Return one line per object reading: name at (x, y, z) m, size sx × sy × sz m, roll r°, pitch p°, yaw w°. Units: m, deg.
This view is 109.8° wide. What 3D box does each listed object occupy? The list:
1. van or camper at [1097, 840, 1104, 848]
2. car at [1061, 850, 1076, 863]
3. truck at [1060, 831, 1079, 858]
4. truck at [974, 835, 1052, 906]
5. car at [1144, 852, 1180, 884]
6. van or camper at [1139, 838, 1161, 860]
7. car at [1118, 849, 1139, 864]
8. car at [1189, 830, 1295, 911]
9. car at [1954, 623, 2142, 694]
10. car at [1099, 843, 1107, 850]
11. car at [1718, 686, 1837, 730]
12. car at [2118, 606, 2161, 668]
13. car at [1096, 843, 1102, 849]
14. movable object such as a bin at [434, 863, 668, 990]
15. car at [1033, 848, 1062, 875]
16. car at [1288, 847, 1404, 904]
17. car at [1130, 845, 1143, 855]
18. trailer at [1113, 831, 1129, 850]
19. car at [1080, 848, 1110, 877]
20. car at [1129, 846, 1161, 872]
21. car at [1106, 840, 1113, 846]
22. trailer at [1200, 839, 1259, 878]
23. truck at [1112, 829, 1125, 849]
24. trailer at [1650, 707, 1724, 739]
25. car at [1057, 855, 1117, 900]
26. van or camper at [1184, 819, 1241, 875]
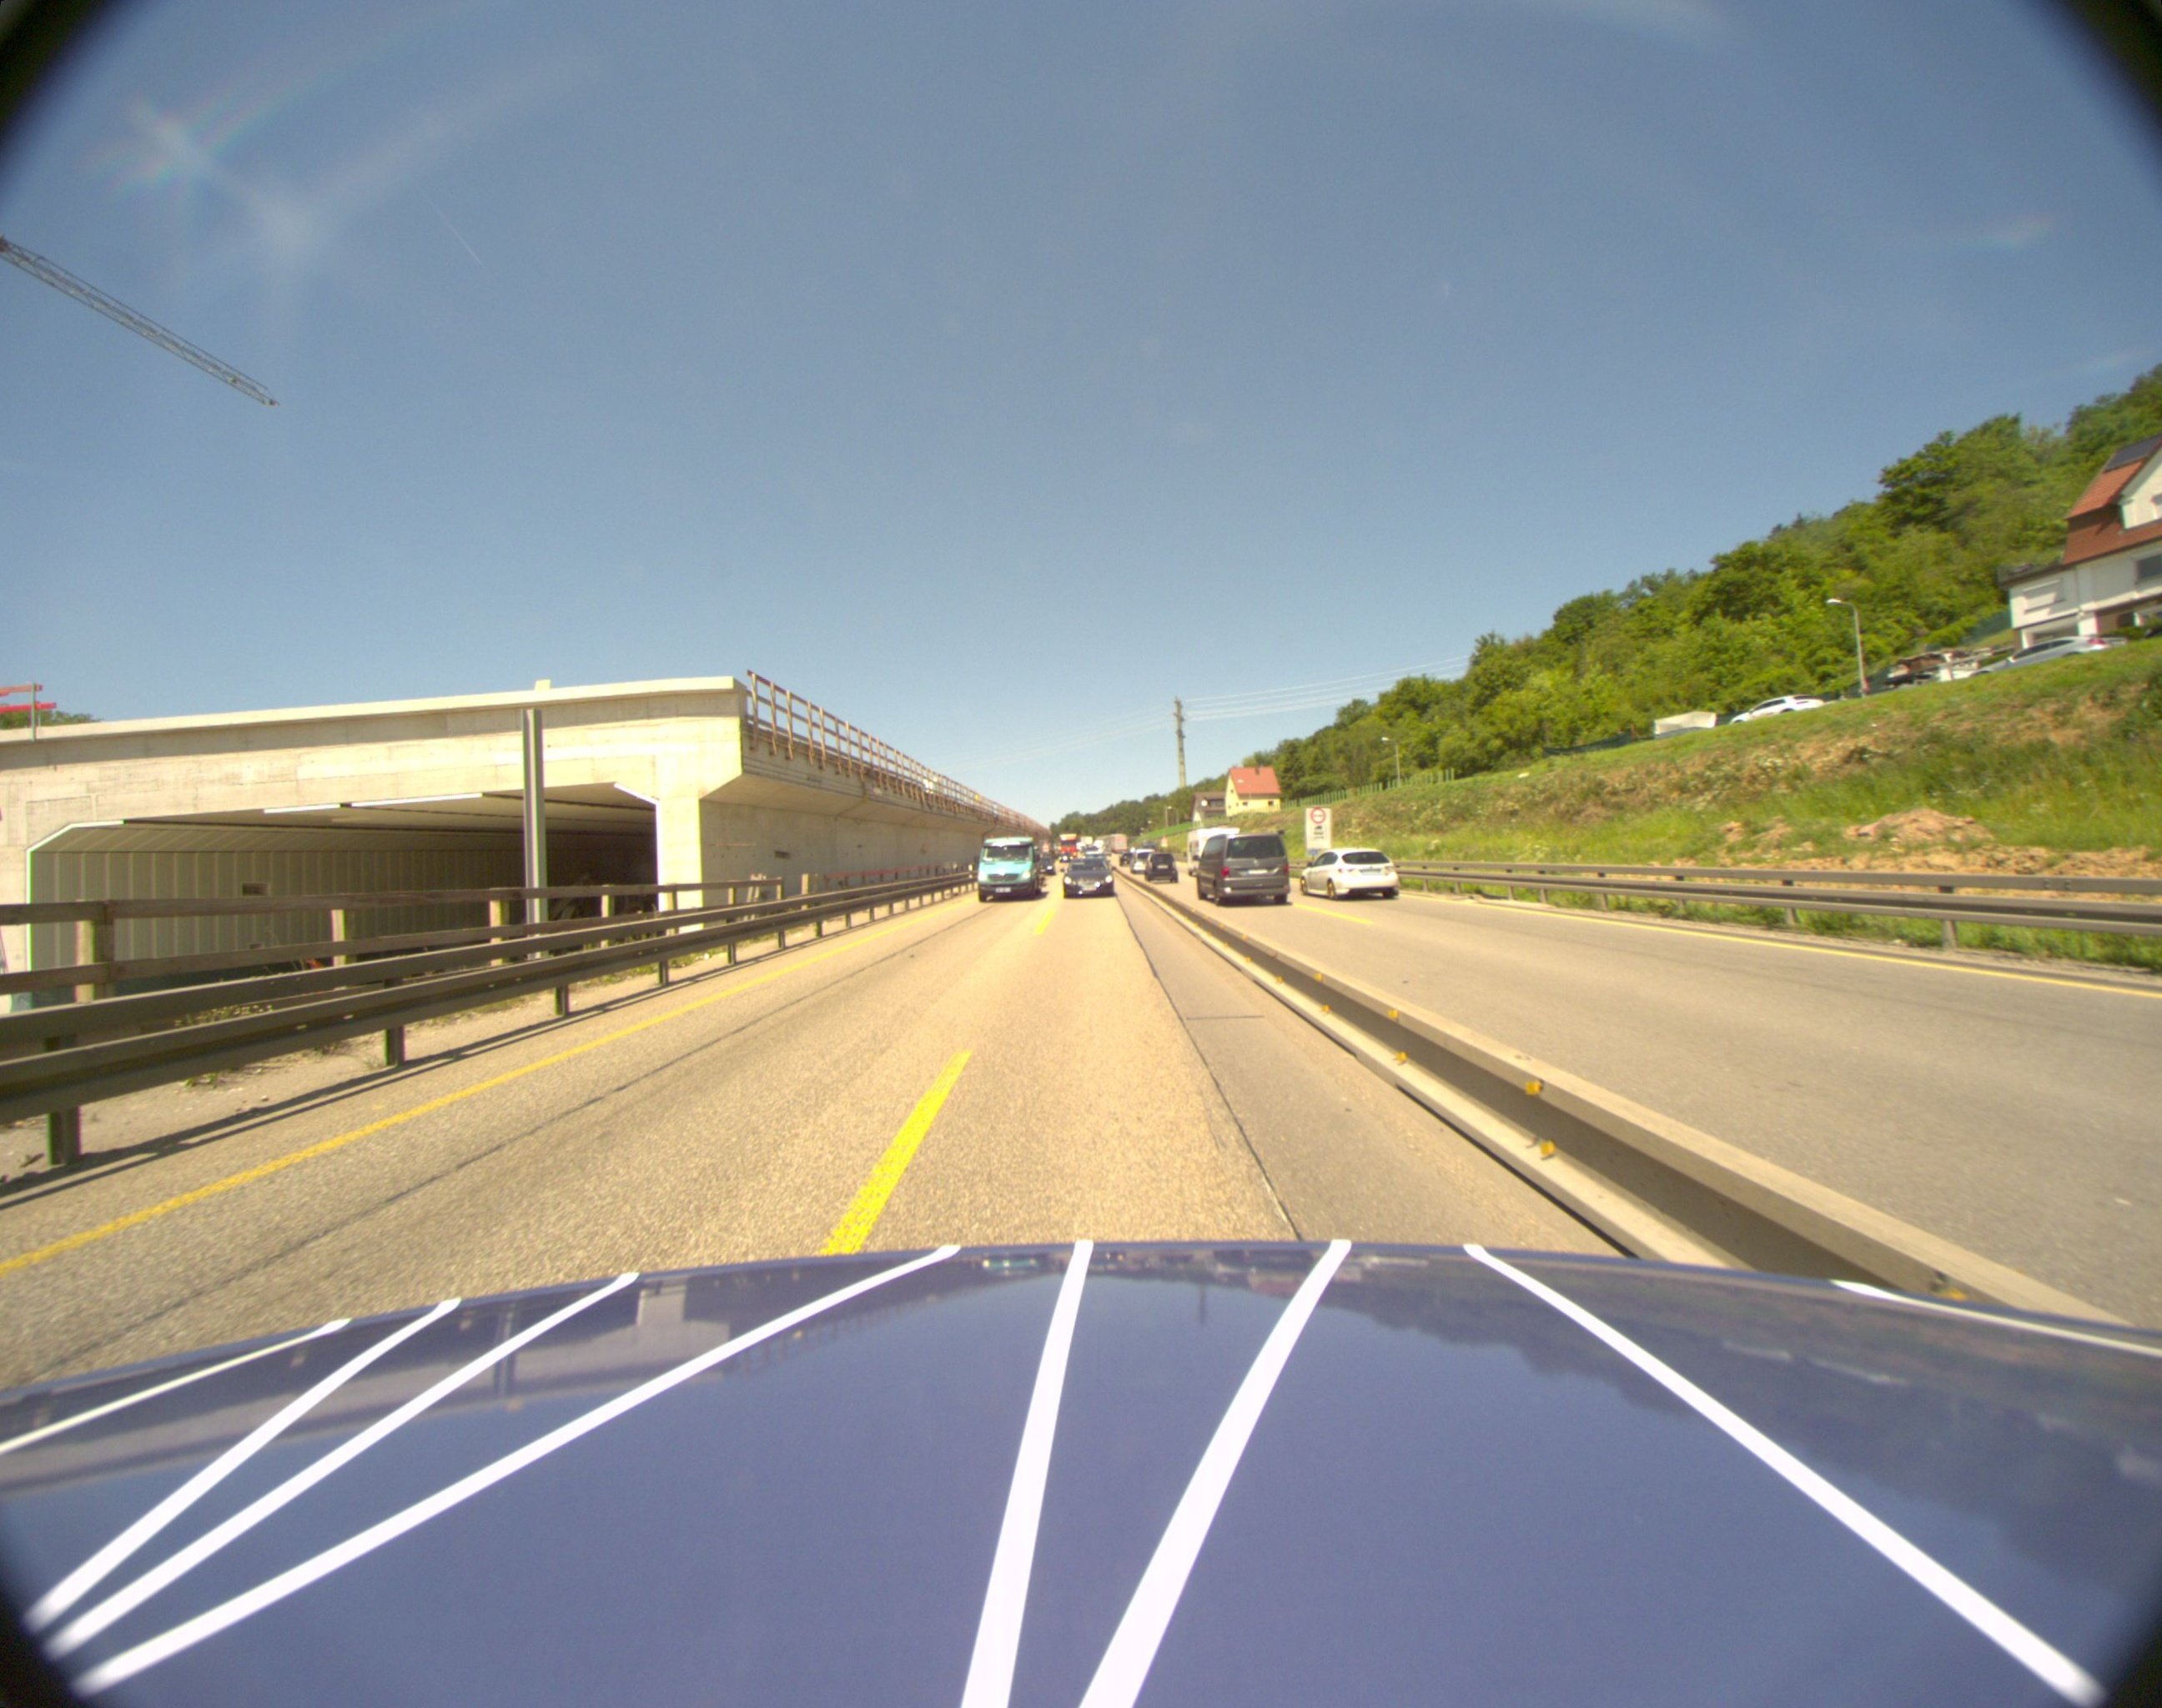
van or camper at (6.473, -3.370, 252.469) m, size 2.356 × 2.619 × 6.901 m, roll -2°, pitch 2°, yaw 1°
car at (-1.703, 0.365, 103.211) m, size 1.883 × 1.532 × 4.280 m, roll -2°, pitch 2°, yaw 0°
truck at (-1.739, -1.602, 123.881) m, size 2.750 × 4.222 × 9.093 m, roll -2°, pitch 2°, yaw 0°
truck at (-2.450, 0.461, 29.553) m, size 2.139 × 2.344 × 7.431 m, roll -2°, pitch 1°, yaw 1°
car at (4.016, 0.658, 38.077) m, size 1.487 × 1.496 × 2.805 m, roll -2°, pitch 0°, yaw 1°
van or camper at (8.672, -0.616, 96.008) m, size 2.145 × 2.558 × 6.564 m, roll -2°, pitch 0°, yaw 1°
car at (4.832, 0.262, 78.114) m, size 1.847 × 1.467 × 4.834 m, roll -2°, pitch 0°, yaw 0°
car at (4.463, 0.397, 21.871) m, size 1.915 × 2.002 × 4.905 m, roll -2°, pitch 1°, yaw -1°
car at (39.627, -7.958, 31.337) m, size 1.999 × 1.861 × 4.427 m, roll -2°, pitch 2°, yaw -5°
car at (4.935, -1.648, 173.726) m, size 1.807 × 1.455 × 4.000 m, roll -2°, pitch 1°, yaw 1°
car at (38.166, -7.976, 41.803) m, size 2.000 × 1.646 × 4.548 m, roll -2°, pitch 2°, yaw -9°
car at (40.304, -7.986, 26.241) m, size 2.077 × 1.997 × 4.969 m, roll -2°, pitch 2°, yaw -4°
car at (5.247, -2.309, 223.200) m, size 1.854 × 1.879 × 4.501 m, roll -2°, pitch 1°, yaw 1°
movable object such as a bin at (-21.098, 2.599, 31.269) m, size 2.961 × 4.040 × 9.153 m, roll -2°, pitch 2°, yaw 0°
car at (-2.515, 0.536, 57.991) m, size 1.885 × 1.805 × 4.249 m, roll -2°, pitch 2°, yaw 0°
car at (7.601, 0.560, 22.283) m, size 1.814 × 1.423 × 4.555 m, roll -3°, pitch 0°, yaw 1°
car at (9.233, -0.665, 126.559) m, size 1.777 × 1.573 × 4.285 m, roll -3°, pitch 1°, yaw 1°
trailer at (8.690, -3.048, 166.943) m, size 2.937 × 3.966 × 8.704 m, roll -2°, pitch 1°, yaw -1°
car at (1.028, 0.556, 53.612) m, size 1.884 × 1.805 × 4.250 m, roll -2°, pitch 2°, yaw 2°
car at (4.728, 0.356, 56.653) m, size 1.842 × 1.817 × 5.040 m, roll -2°, pitch 0°, yaw 0°
car at (8.624, -3.323, 227.438) m, size 1.998 × 1.499 × 5.299 m, roll -2°, pitch 1°, yaw 1°
trailer at (7.797, 0.215, 40.440) m, size 2.106 × 1.883 × 5.141 m, roll -2°, pitch 0°, yaw 1°
truck at (8.648, -3.396, 176.509) m, size 2.627 × 4.371 × 10.383 m, roll -2°, pitch 1°, yaw 1°
trailer at (37.414, -8.075, 46.992) m, size 1.908 × 1.507 × 3.034 m, roll -2°, pitch 2°, yaw -10°
car at (0.266, 0.812, 28.489) m, size 1.998 × 1.441 × 4.601 m, roll -2°, pitch 1°, yaw 1°
van or camper at (7.888, -0.421, 46.334) m, size 2.297 × 3.048 × 6.923 m, roll -2°, pitch 0°, yaw 1°
